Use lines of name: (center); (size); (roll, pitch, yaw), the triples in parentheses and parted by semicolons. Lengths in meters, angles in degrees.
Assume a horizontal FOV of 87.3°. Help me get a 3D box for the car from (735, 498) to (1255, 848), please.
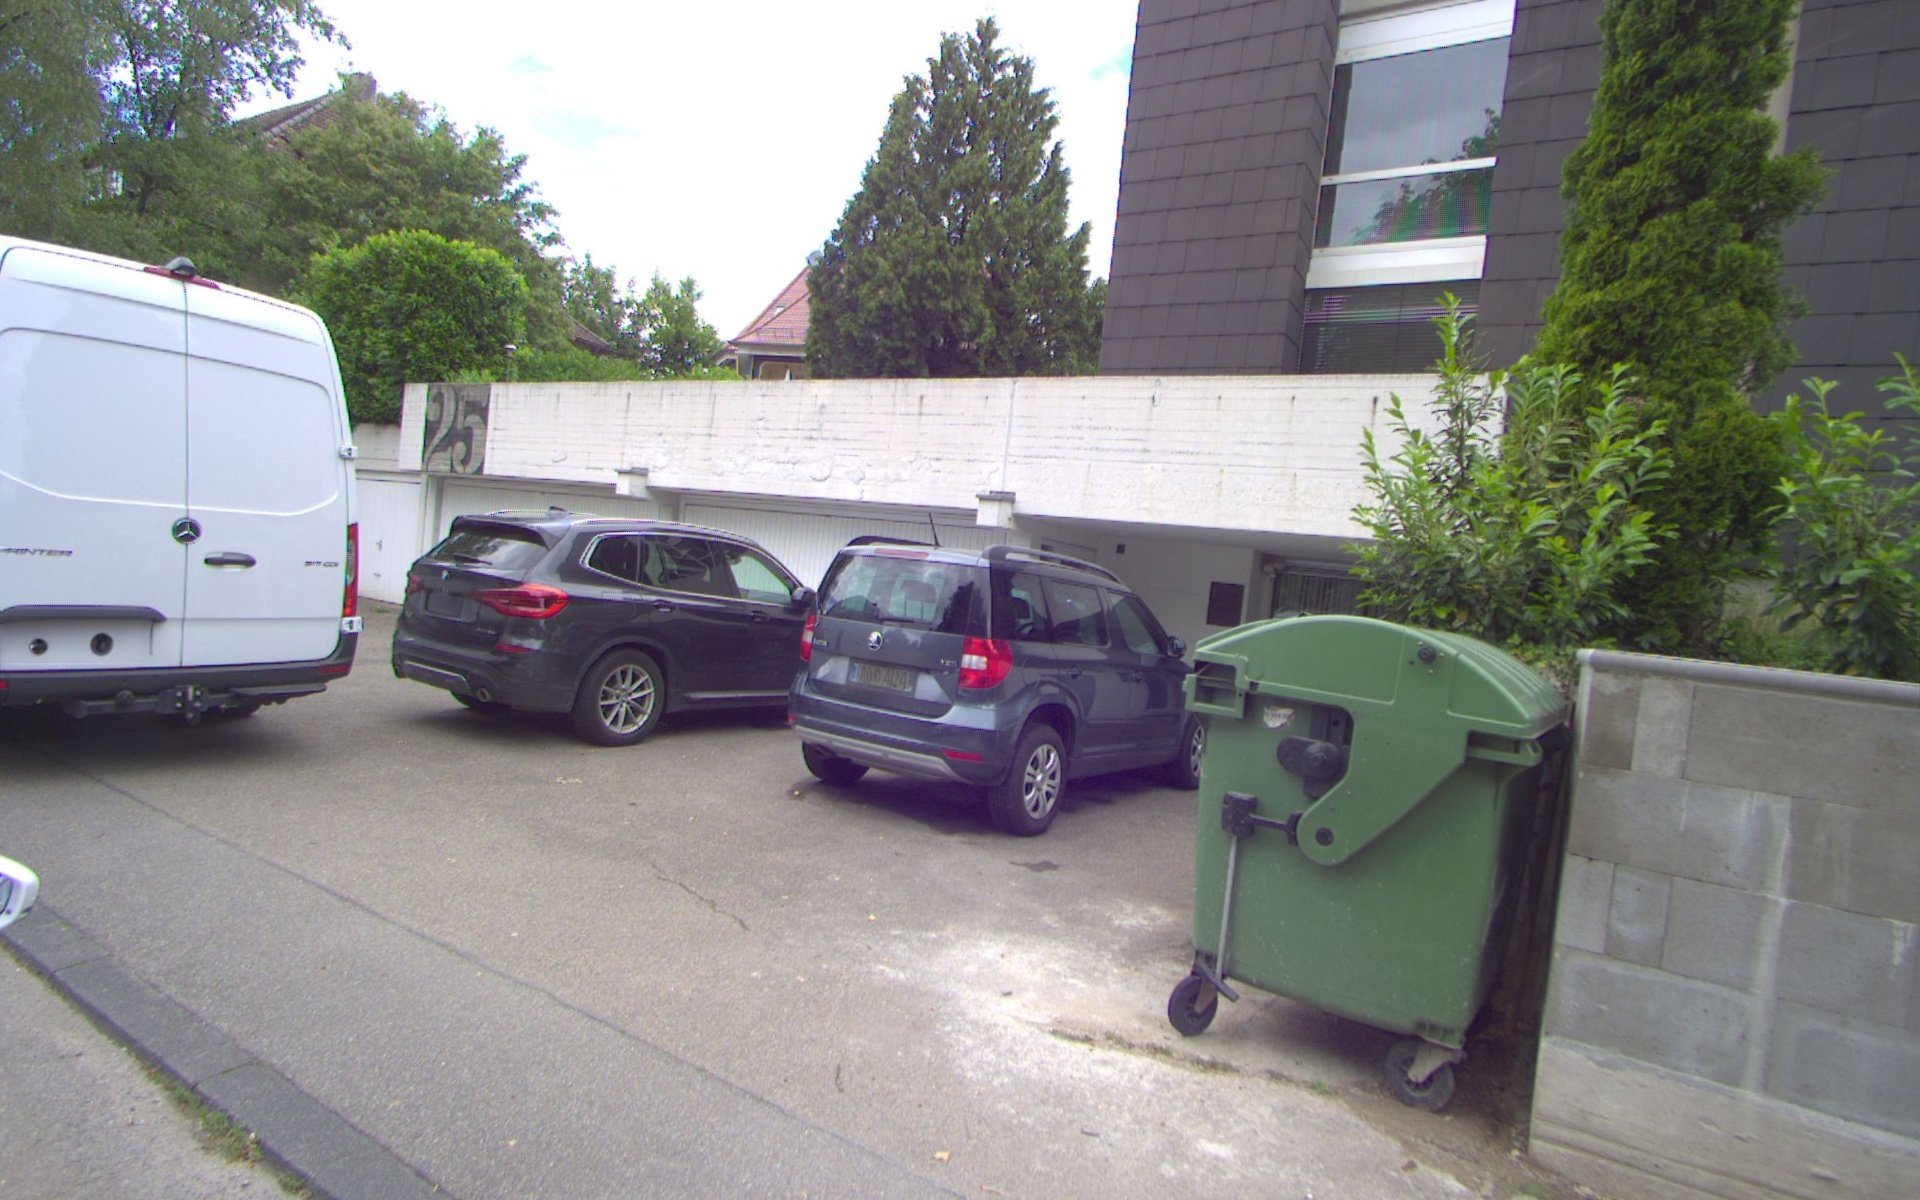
car: (0.533, 0.453, 7.402); (1.804, 1.772, 3.973); (7, 1, 35)

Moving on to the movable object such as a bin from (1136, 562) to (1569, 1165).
movable object such as a bin: (1.351, 0.727, 3.396); (1.016, 1.550, 1.034); (7, 1, 33)

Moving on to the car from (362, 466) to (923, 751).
car: (-2.362, 0.123, 8.683); (1.710, 1.772, 4.419); (7, 1, 33)

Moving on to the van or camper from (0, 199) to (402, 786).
van or camper: (-6.706, -0.736, 6.907); (6.432, 2.653, 1.995); (7, 1, 32)
